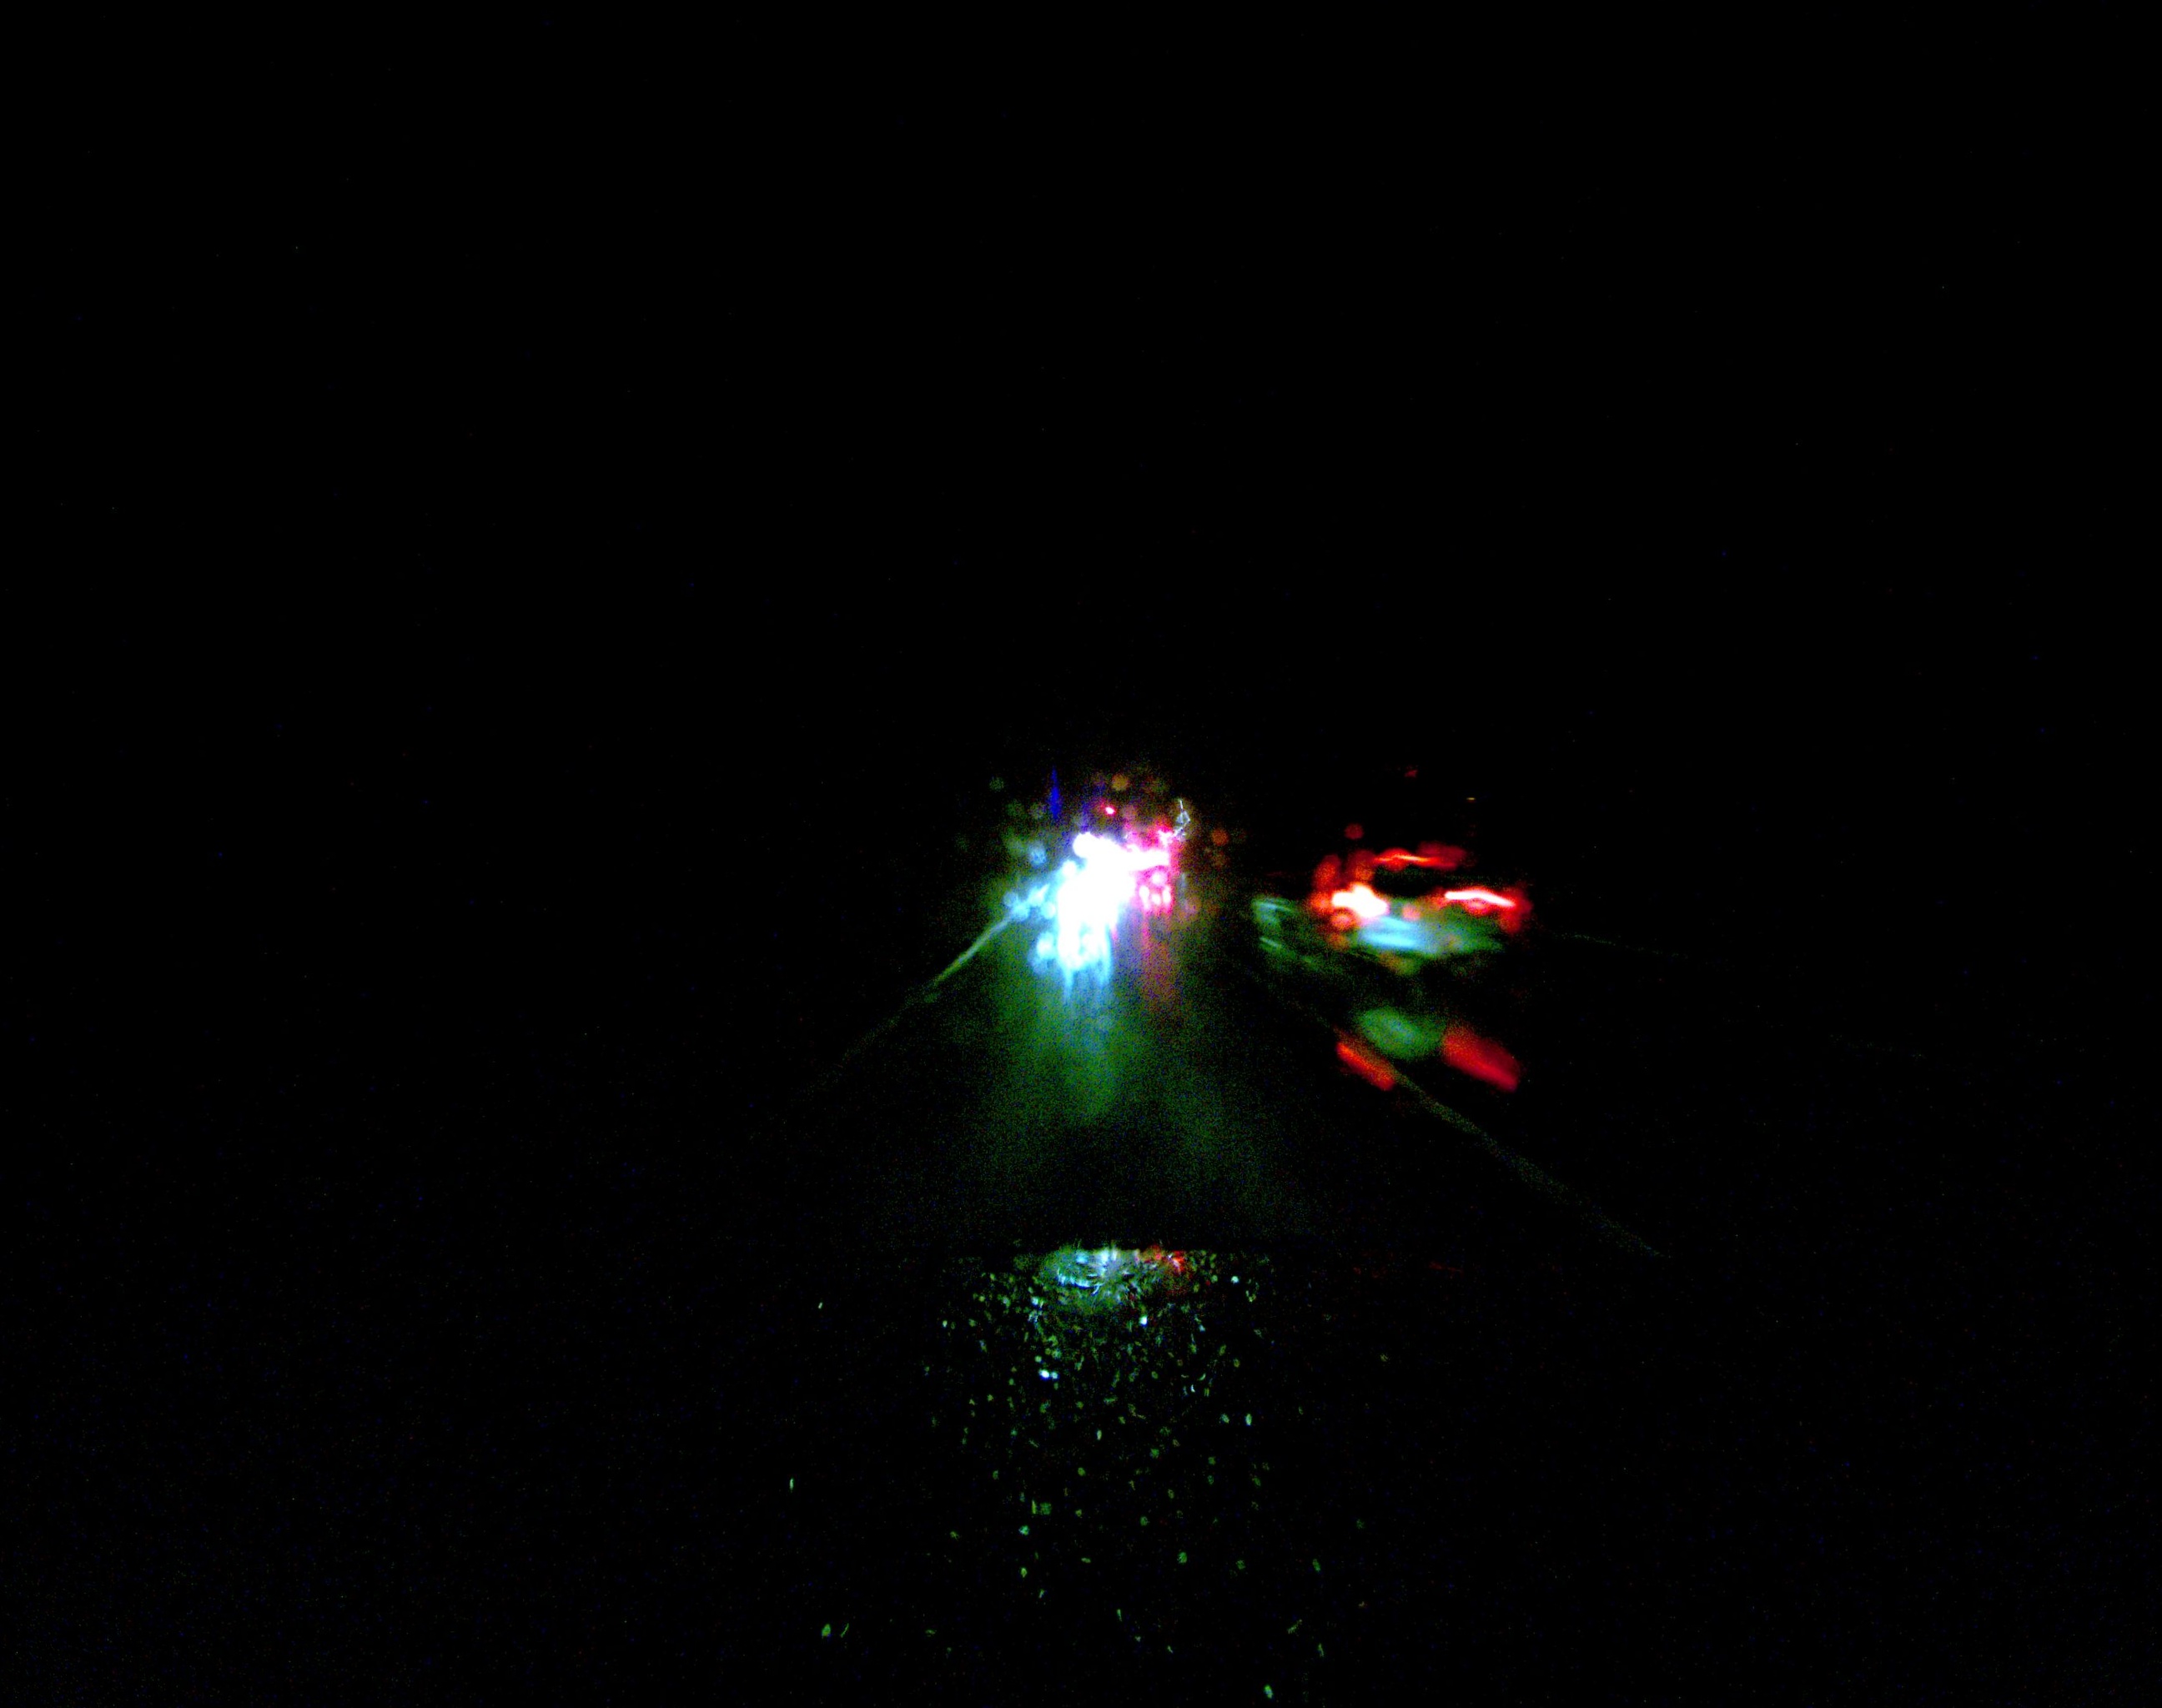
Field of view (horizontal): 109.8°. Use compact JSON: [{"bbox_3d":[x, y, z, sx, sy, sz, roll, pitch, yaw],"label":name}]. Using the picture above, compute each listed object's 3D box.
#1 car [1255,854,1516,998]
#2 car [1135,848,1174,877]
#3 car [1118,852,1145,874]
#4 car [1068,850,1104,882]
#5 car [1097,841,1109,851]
[{"bbox_3d":[3.603,0.744,9.852,1.705,1.458,4.041,-1,0,-1],"label":"car"},{"bbox_3d":[4.242,0.459,44.305,1.893,1.577,4.000,-1,0,1],"label":"car"},{"bbox_3d":[3.983,0.723,60.026,1.893,1.661,4.000,-1,0,1],"label":"car"},{"bbox_3d":[0.287,0.657,43.406,1.893,1.678,4.339,-3,0,1],"label":"car"},{"bbox_3d":[3.786,-1.425,130.969,1.979,1.507,4.207,-3,-1,1],"label":"car"}]
